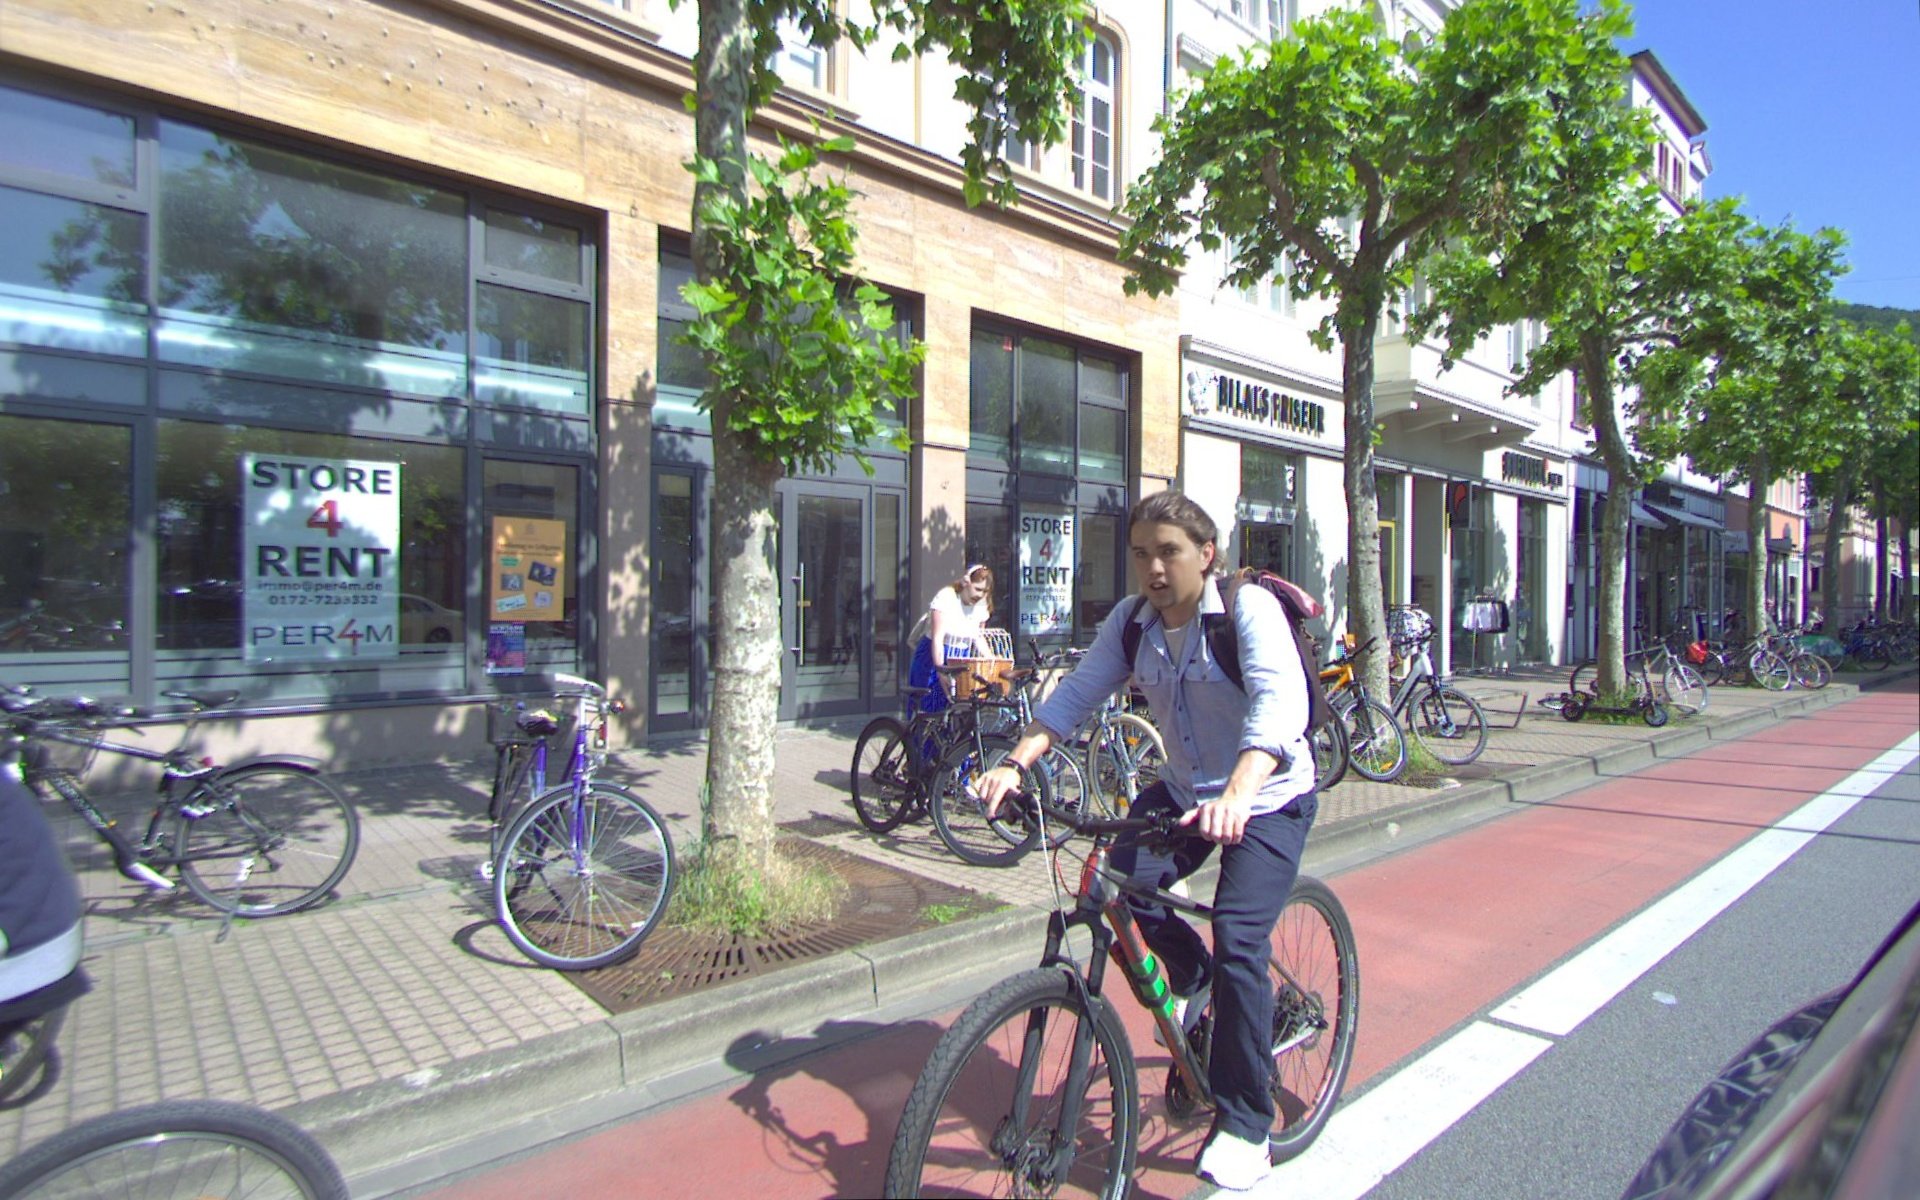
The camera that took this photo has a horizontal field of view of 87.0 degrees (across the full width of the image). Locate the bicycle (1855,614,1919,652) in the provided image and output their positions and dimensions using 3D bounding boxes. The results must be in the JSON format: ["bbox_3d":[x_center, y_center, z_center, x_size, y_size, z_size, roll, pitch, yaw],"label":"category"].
[{"bbox_3d":[29.674,1.039,32.120,0.440,1.141,1.845,-1,1,-37],"label":"bicycle"}]

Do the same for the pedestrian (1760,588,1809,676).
[{"bbox_3d":[16.494,0.632,20.242,0.829,1.711,0.639,2,-3,-43],"label":"pedestrian"}]

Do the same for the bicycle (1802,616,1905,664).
[{"bbox_3d":[21.910,0.993,24.849,1.838,1.142,0.490,-2,-4,42],"label":"bicycle"}]

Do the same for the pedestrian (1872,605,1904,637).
[{"bbox_3d":[48.866,1.098,53.303,0.892,1.631,0.970,1,3,21],"label":"pedestrian"}]

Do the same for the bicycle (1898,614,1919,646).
[{"bbox_3d":[34.698,1.083,36.046,0.632,1.141,1.844,0,1,-38],"label":"bicycle"}]

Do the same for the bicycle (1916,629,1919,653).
[{"bbox_3d":[38.047,1.468,38.860,1.018,0.395,1.854,-44,18,-33],"label":"bicycle"}]

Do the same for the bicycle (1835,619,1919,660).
[{"bbox_3d":[25.531,1.077,28.102,1.837,1.107,0.556,-1,-1,40],"label":"bicycle"}]

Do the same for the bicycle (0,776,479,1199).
[{"bbox_3d":[-1.791,0.952,1.262,2.047,1.141,0.698,0,-2,-44],"label":"bicycle"}]

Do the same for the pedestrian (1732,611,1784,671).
[{"bbox_3d":[17.401,0.879,22.066,0.566,1.259,0.788,-1,0,-43],"label":"pedestrian"}]

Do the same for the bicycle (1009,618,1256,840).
[{"bbox_3d":[1.057,0.747,6.597,0.469,1.232,1.732,1,-1,-38],"label":"bicycle"}]

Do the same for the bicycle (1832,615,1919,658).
[{"bbox_3d":[25.990,1.035,28.690,1.835,1.141,0.755,-2,-1,37],"label":"bicycle"}]

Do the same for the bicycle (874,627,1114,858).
[{"bbox_3d":[0.145,0.776,6.192,0.469,1.176,1.732,1,-1,-38],"label":"bicycle"}]

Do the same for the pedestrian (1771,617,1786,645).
[{"bbox_3d":[29.061,1.106,35.942,0.429,0.980,0.342,1,-1,-39],"label":"pedestrian"}]

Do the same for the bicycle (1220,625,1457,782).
[{"bbox_3d":[3.088,0.787,8.412,0.722,1.123,1.732,1,0,-38],"label":"bicycle"}]

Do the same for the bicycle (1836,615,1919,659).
[{"bbox_3d":[25.227,1.013,27.703,1.836,1.141,0.623,-2,-2,39],"label":"bicycle"}]

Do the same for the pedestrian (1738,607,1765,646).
[{"bbox_3d":[27.987,0.919,35.766,0.523,1.350,0.682,1,-1,-43],"label":"pedestrian"}]

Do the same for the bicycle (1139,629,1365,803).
[{"bbox_3d":[2.134,0.802,7.613,0.395,1.123,1.732,1,-1,-38],"label":"bicycle"}]

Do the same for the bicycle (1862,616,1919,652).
[{"bbox_3d":[30.329,1.081,32.561,0.519,1.141,1.848,0,-1,-28],"label":"bicycle"}]

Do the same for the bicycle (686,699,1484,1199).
[{"bbox_3d":[0.466,0.886,2.334,2.047,1.141,0.698,0,-2,-44],"label":"bicycle"}]

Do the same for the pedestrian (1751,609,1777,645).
[{"bbox_3d":[29.296,0.966,36.864,0.598,1.268,0.640,-1,2,-43],"label":"pedestrian"}]

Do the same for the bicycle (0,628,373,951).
[{"bbox_3d":[-3.416,0.735,4.250,1.621,1.203,0.475,0,-1,-29],"label":"bicycle"}]

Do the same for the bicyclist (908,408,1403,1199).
[{"bbox_3d":[0.467,0.401,2.345,0.945,1.464,0.699,1,-2,-44],"label":"bicyclist"}]

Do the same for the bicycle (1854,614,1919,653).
[{"bbox_3d":[29.346,1.038,31.808,0.440,1.141,1.845,-1,1,-37],"label":"bicycle"}]

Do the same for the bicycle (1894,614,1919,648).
[{"bbox_3d":[33.393,1.089,34.760,0.654,1.141,1.844,0,1,-38],"label":"bicycle"}]

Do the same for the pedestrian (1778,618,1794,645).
[{"bbox_3d":[29.618,1.124,36.295,0.429,0.980,0.365,1,-1,-39],"label":"pedestrian"}]

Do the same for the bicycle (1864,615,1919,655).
[{"bbox_3d":[28.602,1.045,30.707,0.439,1.141,1.850,0,1,-13],"label":"bicycle"}]

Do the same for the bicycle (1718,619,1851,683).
[{"bbox_3d":[15.299,0.920,18.833,0.487,1.141,1.847,0,-1,-29],"label":"bicycle"}]

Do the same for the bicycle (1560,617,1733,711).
[{"bbox_3d":[9.428,0.841,13.968,0.657,1.201,1.845,0,-1,-35],"label":"bicycle"}]

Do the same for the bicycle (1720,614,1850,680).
[{"bbox_3d":[15.982,0.882,19.651,0.660,1.212,1.846,0,-1,-33],"label":"bicycle"}]

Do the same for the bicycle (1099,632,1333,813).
[{"bbox_3d":[1.801,0.817,7.368,0.469,1.123,1.732,1,-1,-38],"label":"bicycle"}]

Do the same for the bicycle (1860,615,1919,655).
[{"bbox_3d":[27.917,1.030,29.949,1.818,1.141,0.591,0,1,14],"label":"bicycle"}]

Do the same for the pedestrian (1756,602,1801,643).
[{"bbox_3d":[31.469,0.851,38.925,0.823,1.502,1.253,0,0,-43],"label":"pedestrian"}]

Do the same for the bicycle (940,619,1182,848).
[{"bbox_3d":[0.575,0.749,6.422,0.469,1.232,1.732,1,-1,-38],"label":"bicycle"}]

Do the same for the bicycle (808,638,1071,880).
[{"bbox_3d":[-0.180,0.806,5.798,0.595,1.109,1.732,1,-1,-38],"label":"bicycle"}]

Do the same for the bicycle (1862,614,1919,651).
[{"bbox_3d":[30.815,1.060,32.986,0.746,1.141,1.995,0,1,-28],"label":"bicycle"}]

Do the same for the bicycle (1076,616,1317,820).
[{"bbox_3d":[1.588,0.739,7.072,0.469,1.232,1.732,1,-1,-38],"label":"bicycle"}]

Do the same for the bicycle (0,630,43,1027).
[{"bbox_3d":[-3.305,0.729,3.184,0.465,1.216,1.848,1,-1,-38],"label":"bicycle"}]

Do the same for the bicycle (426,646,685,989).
[{"bbox_3d":[-1.794,0.791,4.341,0.595,1.109,1.653,1,-1,-38],"label":"bicycle"}]

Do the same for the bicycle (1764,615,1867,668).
[{"bbox_3d":[20.371,0.968,24.140,1.760,1.212,0.573,0,-1,23],"label":"bicycle"}]

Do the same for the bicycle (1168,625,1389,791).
[{"bbox_3d":[2.425,0.774,7.900,0.395,1.123,1.732,1,-1,-38],"label":"bicycle"}]

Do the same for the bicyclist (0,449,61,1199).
[{"bbox_3d":[-1.729,0.536,1.335,0.777,1.459,0.699,1,-2,-44],"label":"bicyclist"}]

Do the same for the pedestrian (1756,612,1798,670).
[{"bbox_3d":[18.058,0.895,22.369,0.587,1.248,0.639,-1,0,-43],"label":"pedestrian"}]

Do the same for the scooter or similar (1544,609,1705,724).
[{"bbox_3d":[8.031,0.768,12.292,0.656,1.291,1.481,0,-1,-29],"label":"scooter or similar"}]

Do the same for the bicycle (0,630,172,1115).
[{"bbox_3d":[-2.917,0.729,3.353,0.465,1.216,1.653,1,-1,-38],"label":"bicycle"}]

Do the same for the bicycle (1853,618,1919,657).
[{"bbox_3d":[26.931,1.067,29.053,0.554,1.107,1.843,0,-1,-40],"label":"bicycle"}]

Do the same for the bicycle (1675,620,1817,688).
[{"bbox_3d":[13.912,0.924,17.958,0.779,1.111,1.846,0,-1,-35],"label":"bicycle"}]

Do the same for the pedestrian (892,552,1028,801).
[{"bbox_3d":[-0.003,0.501,7.096,0.731,1.633,0.616,1,-1,-40],"label":"pedestrian"}]

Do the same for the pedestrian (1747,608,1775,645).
[{"bbox_3d":[28.863,0.943,36.466,0.523,1.269,0.682,1,0,-43],"label":"pedestrian"}]

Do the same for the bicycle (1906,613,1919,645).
[{"bbox_3d":[35.960,1.076,37.078,0.654,1.141,1.844,0,1,-38],"label":"bicycle"}]

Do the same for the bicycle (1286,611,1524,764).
[{"bbox_3d":[4.098,0.746,9.474,0.722,1.264,1.936,1,-1,-38],"label":"bicycle"}]
